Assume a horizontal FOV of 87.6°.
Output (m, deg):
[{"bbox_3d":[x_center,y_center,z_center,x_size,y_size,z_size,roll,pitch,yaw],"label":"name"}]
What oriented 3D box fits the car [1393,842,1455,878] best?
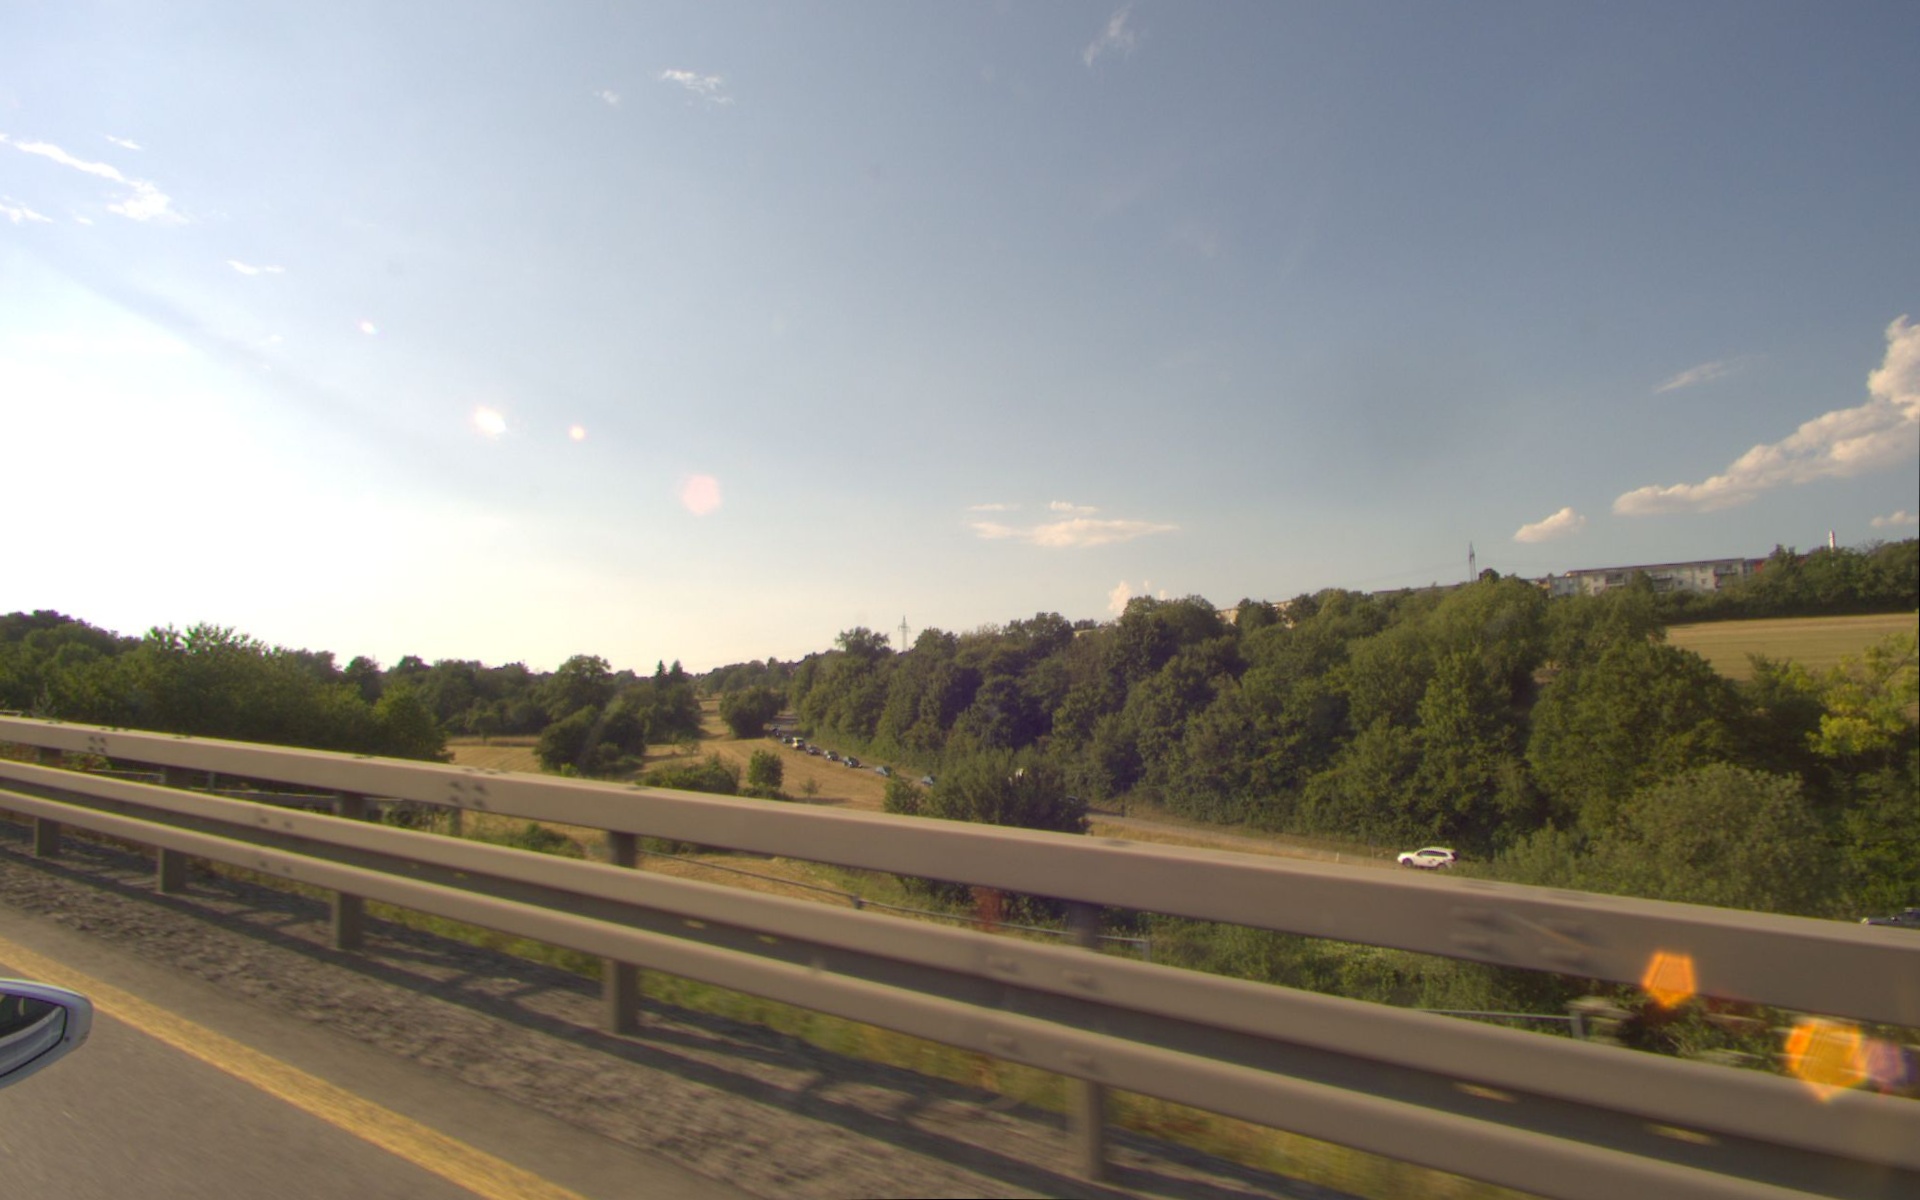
[{"bbox_3d":[35.577,19.922,76.824,1.696,1.861,3.965,1,-2,-42],"label":"car"}]
